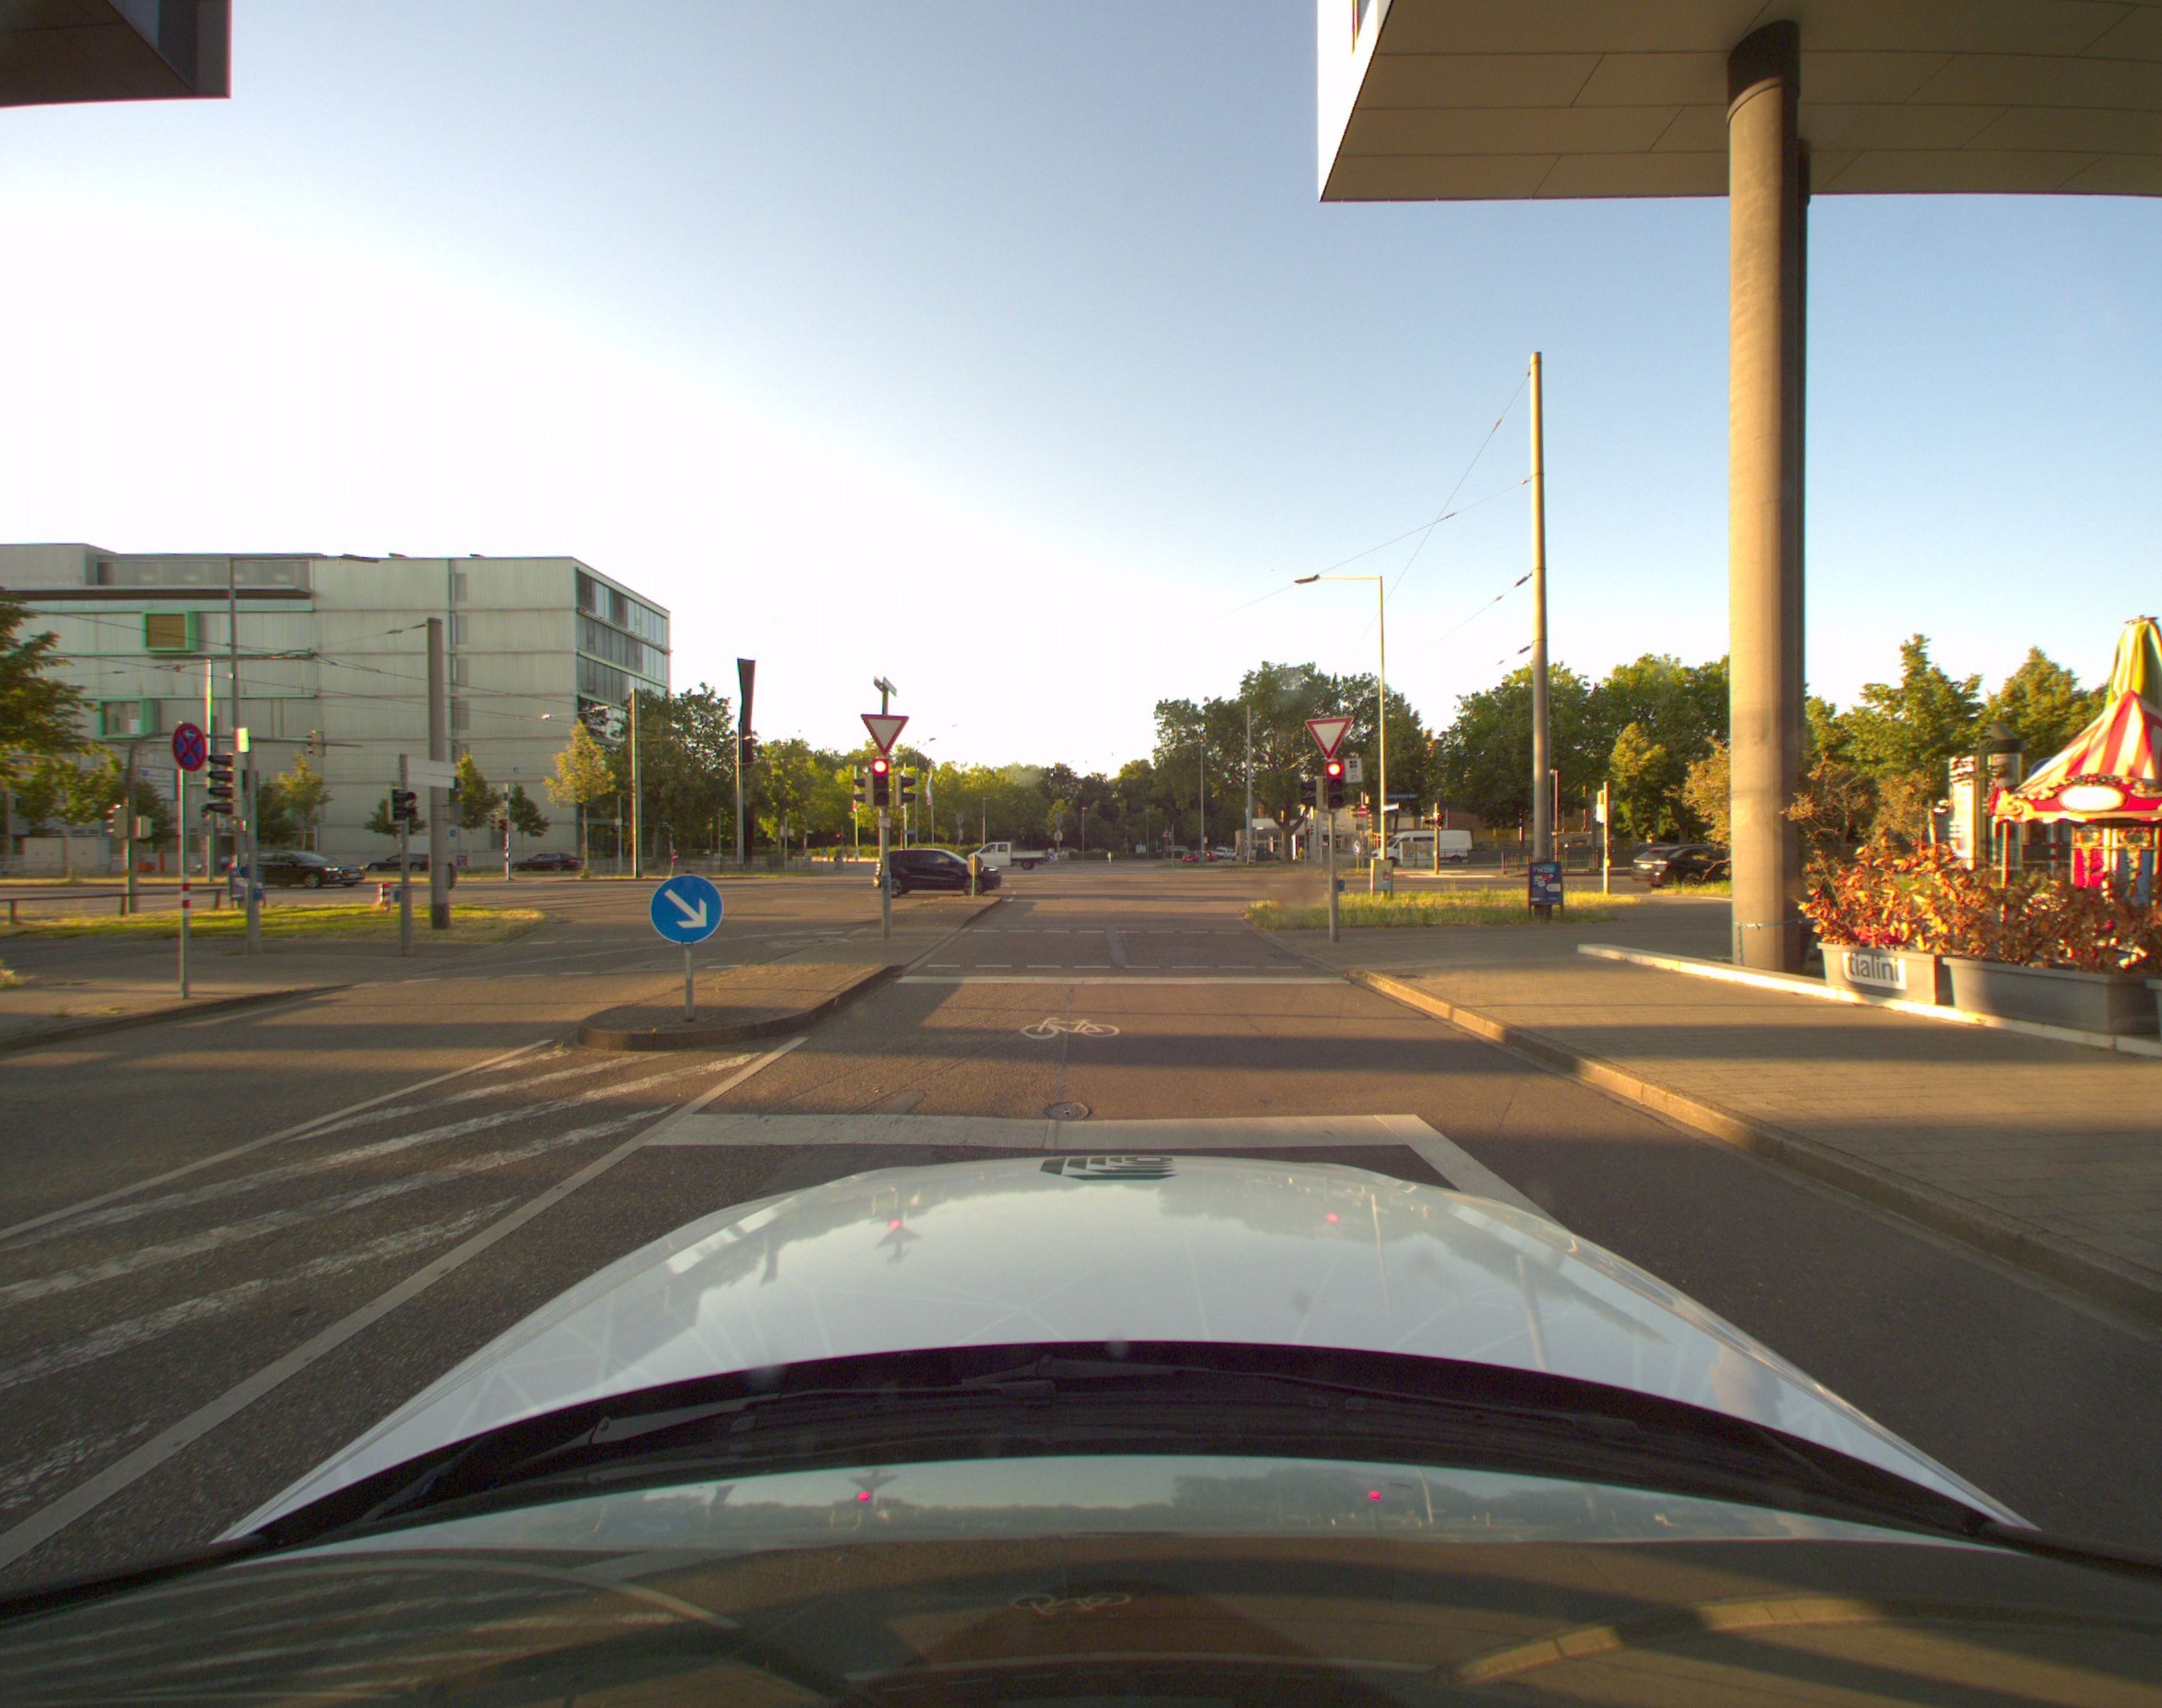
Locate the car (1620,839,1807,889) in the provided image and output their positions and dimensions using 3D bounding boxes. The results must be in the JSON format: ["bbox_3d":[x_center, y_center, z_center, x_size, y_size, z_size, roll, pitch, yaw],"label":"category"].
[{"bbox_3d":[21.524,0.323,27.847,4.893,1.614,1.999,-1,0,-1],"label":"car"}]

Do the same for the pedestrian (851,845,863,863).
[{"bbox_3d":[-22.292,-0.019,81.028,0.852,1.744,0.835,-1,0,40],"label":"pedestrian"}]

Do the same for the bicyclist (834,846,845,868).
[{"bbox_3d":[-18.918,0.244,63.783,0.753,1.709,0.914,-1,0,-20],"label":"bicyclist"}]

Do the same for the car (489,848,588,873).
[{"bbox_3d":[-35.686,0.406,53.670,5.206,1.552,2.000,-1,-1,1],"label":"car"}]

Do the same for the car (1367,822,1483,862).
[{"bbox_3d":[23.809,-0.817,56.675,6.892,2.636,2.812,-1,-1,1],"label":"car"}]

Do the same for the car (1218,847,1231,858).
[{"bbox_3d":[23.929,-0.265,135.740,1.849,1.794,4.015,-1,-1,14],"label":"car"}]

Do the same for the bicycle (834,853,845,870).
[{"bbox_3d":[-19.050,0.585,64.118,0.732,1.341,2.674,-1,0,-18],"label":"bicycle"}]

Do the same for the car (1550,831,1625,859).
[{"bbox_3d":[47.852,-0.850,77.072,5.561,2.551,2.235,-1,0,9],"label":"car"}]

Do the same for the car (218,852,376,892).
[{"bbox_3d":[-32.509,0.737,33.896,4.467,1.557,1.986,-1,0,-4],"label":"car"}]

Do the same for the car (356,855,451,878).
[{"bbox_3d":[-48.228,0.901,58.072,5.082,1.552,2.000,-1,-1,1],"label":"car"}]

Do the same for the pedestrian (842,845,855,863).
[{"bbox_3d":[-22.920,-0.036,80.272,0.852,1.744,0.835,-1,0,35],"label":"pedestrian"}]

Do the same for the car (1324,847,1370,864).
[{"bbox_3d":[23.461,0.111,71.962,3.715,1.440,1.669,-1,-1,11],"label":"car"}]

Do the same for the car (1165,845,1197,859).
[{"bbox_3d":[15.411,-0.340,125.731,4.753,2.006,2.002,-1,-1,3],"label":"car"}]

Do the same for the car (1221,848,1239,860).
[{"bbox_3d":[21.084,-0.009,115.302,1.978,1.662,4.018,-1,-1,17],"label":"car"}]

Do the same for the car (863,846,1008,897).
[{"bbox_3d":[-4.665,0.541,26.664,4.423,1.574,1.998,-1,0,-3],"label":"car"}]

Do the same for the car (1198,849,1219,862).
[{"bbox_3d":[16.204,0.208,103.182,1.978,1.662,4.018,-1,-1,17],"label":"car"}]

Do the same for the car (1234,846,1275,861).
[{"bbox_3d":[18.920,0.007,88.903,4.194,1.552,2.005,-1,-1,9],"label":"car"}]

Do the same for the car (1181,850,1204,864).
[{"bbox_3d":[13.101,0.371,95.561,1.978,1.662,4.018,-1,-1,17],"label":"car"}]

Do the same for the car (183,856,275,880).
[{"bbox_3d":[-59.378,0.968,56.801,4.454,1.552,2.001,-1,-1,3],"label":"car"}]

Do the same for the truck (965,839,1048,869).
[{"bbox_3d":[-5.169,-0.006,57.084,5.535,2.054,2.069,-1,0,2],"label":"truck"}]

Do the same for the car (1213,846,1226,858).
[{"bbox_3d":[22.265,-0.258,130.882,1.850,1.794,4.013,-1,-1,12],"label":"car"}]
